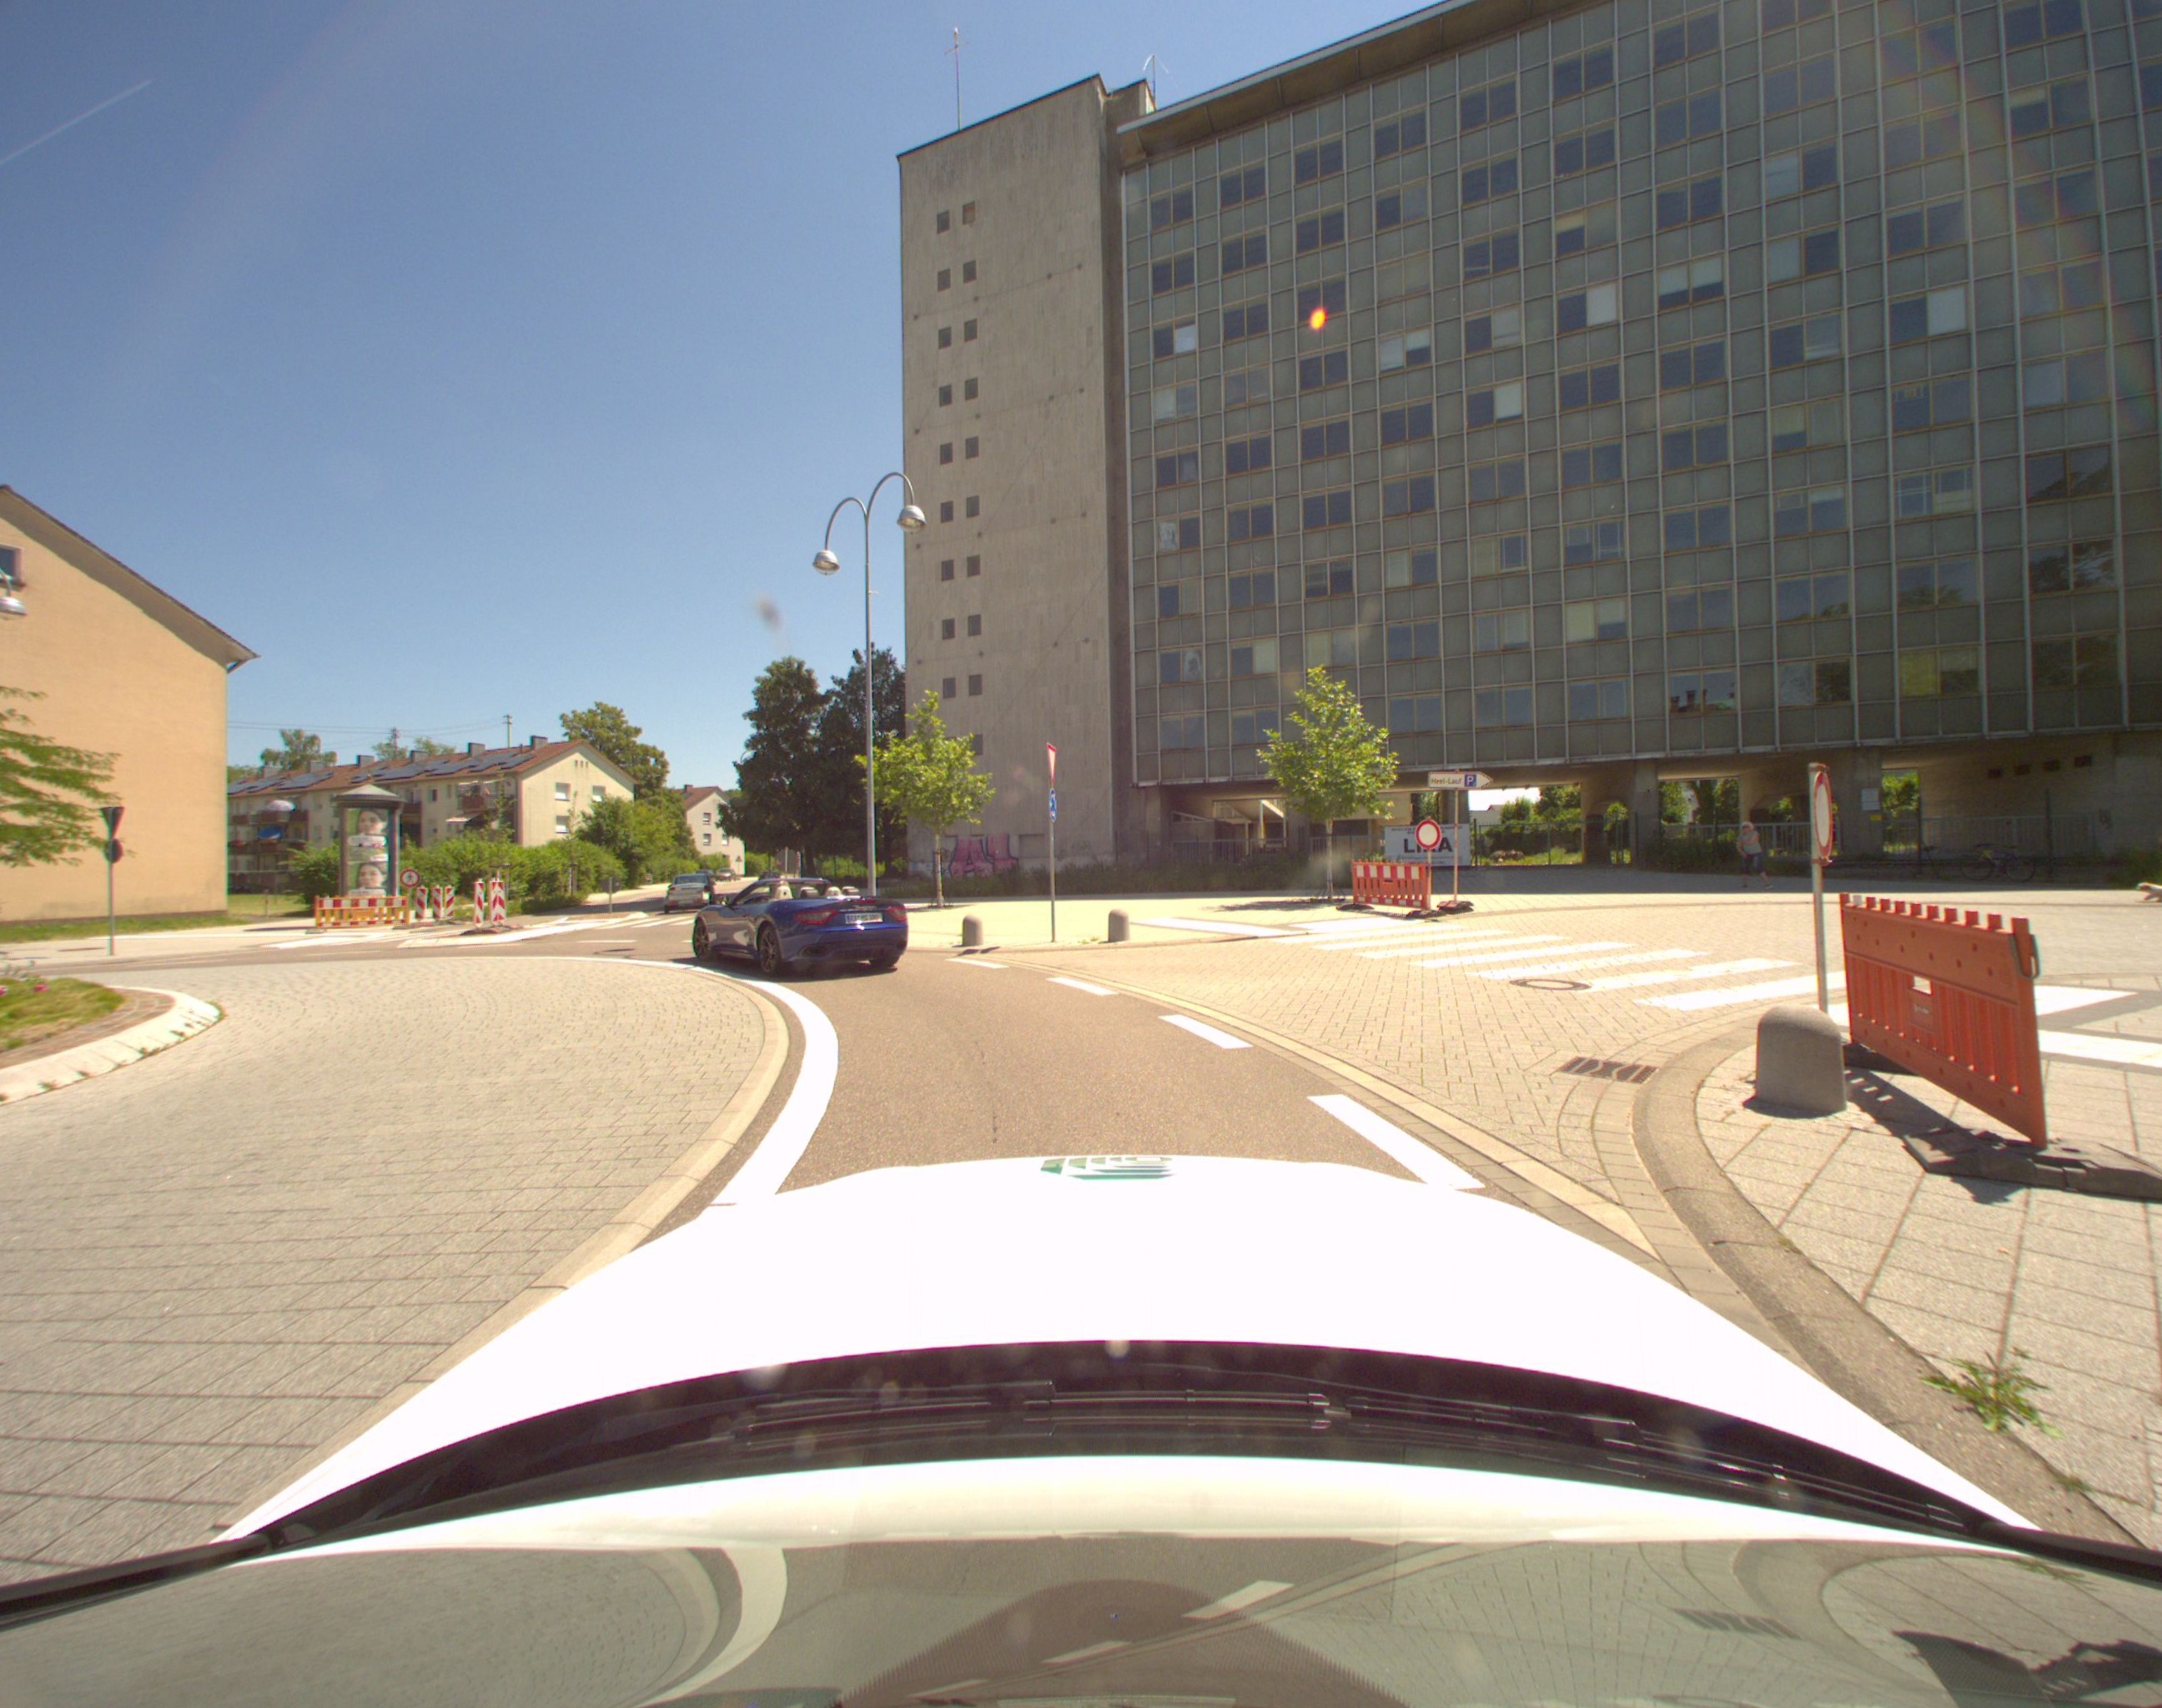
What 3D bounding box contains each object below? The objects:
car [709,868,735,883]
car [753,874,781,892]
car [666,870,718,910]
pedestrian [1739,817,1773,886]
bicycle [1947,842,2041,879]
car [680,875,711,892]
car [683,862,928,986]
[{"bbox_3d":[-39.866,2.349,90.533,1.739,1.436,3.697,-3,0,-10],"label":"car"},{"bbox_3d":[-29.589,2.725,76.868,1.739,1.436,3.696,-3,0,-11],"label":"car"},{"bbox_3d":[-15.810,1.417,33.192,1.747,1.436,3.680,-3,0,-25],"label":"car"},{"bbox_3d":[17.116,-0.066,20.652,0.559,1.708,0.490,-2,2,28],"label":"pedestrian"},{"bbox_3d":[23.340,0.158,20.866,0.445,0.907,1.755,-2,0,2],"label":"bicycle"},{"bbox_3d":[-37.782,2.896,79.850,1.739,1.436,3.697,-3,0,-10],"label":"car"},{"bbox_3d":[-4.348,0.987,12.392,1.887,1.530,4.451,0,-3,-42],"label":"car"}]
